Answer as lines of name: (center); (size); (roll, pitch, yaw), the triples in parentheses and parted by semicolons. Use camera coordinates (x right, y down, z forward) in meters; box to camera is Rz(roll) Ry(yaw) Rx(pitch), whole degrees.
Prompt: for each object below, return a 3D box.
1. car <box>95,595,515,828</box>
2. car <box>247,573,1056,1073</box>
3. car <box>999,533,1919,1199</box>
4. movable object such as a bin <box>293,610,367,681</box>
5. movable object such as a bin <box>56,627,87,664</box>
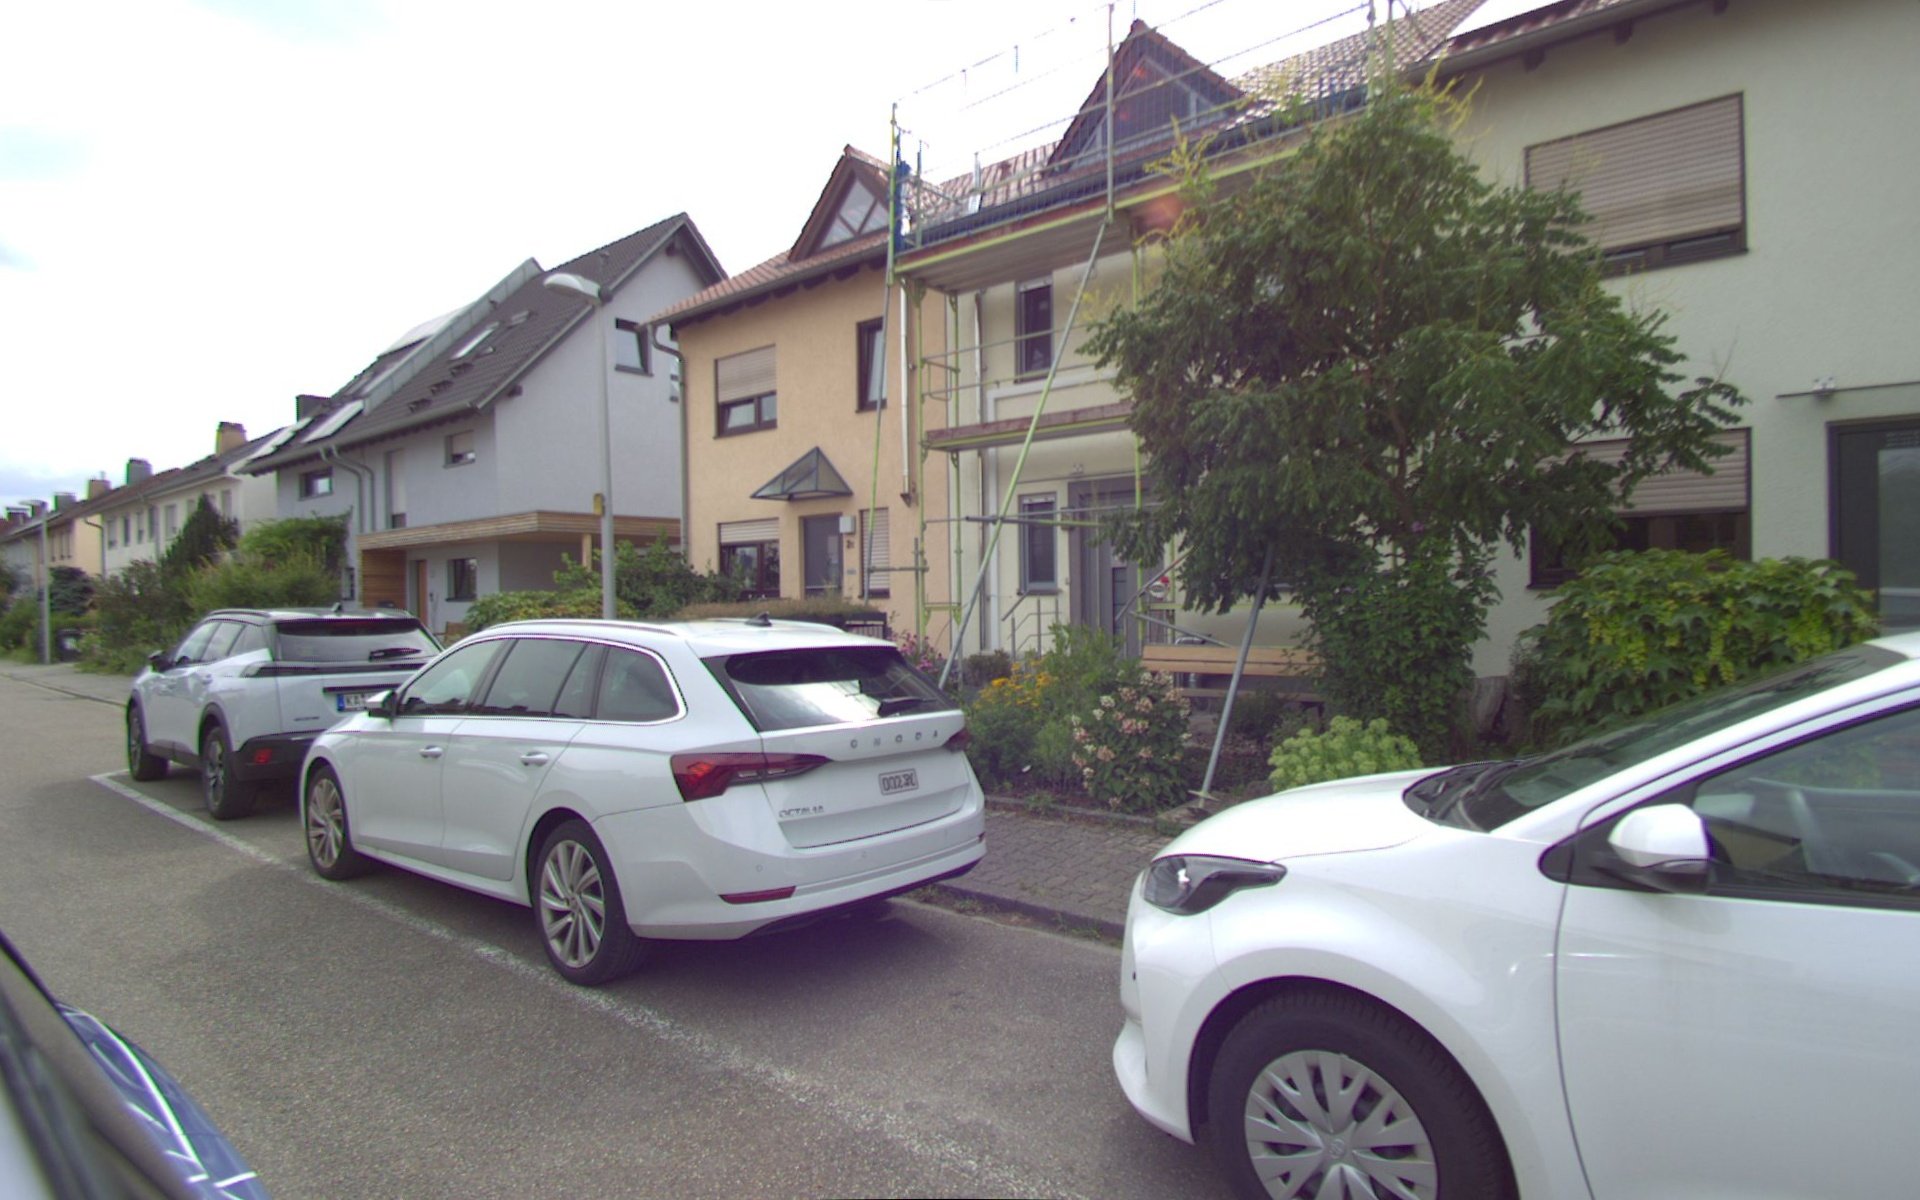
car: (-6.017, 0.789, 9.047); (4.631, 1.568, 1.914); (-1, -1, 40)
car: (-2.001, 0.743, 5.437); (4.843, 1.574, 1.792); (-1, -1, 40)
car: (2.252, 0.663, 2.022); (4.137, 1.543, 1.773); (-1, -1, 40)
movable object such as a bin: (-12.151, 0.858, 19.525); (1.000, 1.322, 0.940); (-1, -1, 39)
movable object such as a bin: (-25.464, 1.284, 29.006); (0.664, 1.035, 0.596); (-1, -1, 40)
